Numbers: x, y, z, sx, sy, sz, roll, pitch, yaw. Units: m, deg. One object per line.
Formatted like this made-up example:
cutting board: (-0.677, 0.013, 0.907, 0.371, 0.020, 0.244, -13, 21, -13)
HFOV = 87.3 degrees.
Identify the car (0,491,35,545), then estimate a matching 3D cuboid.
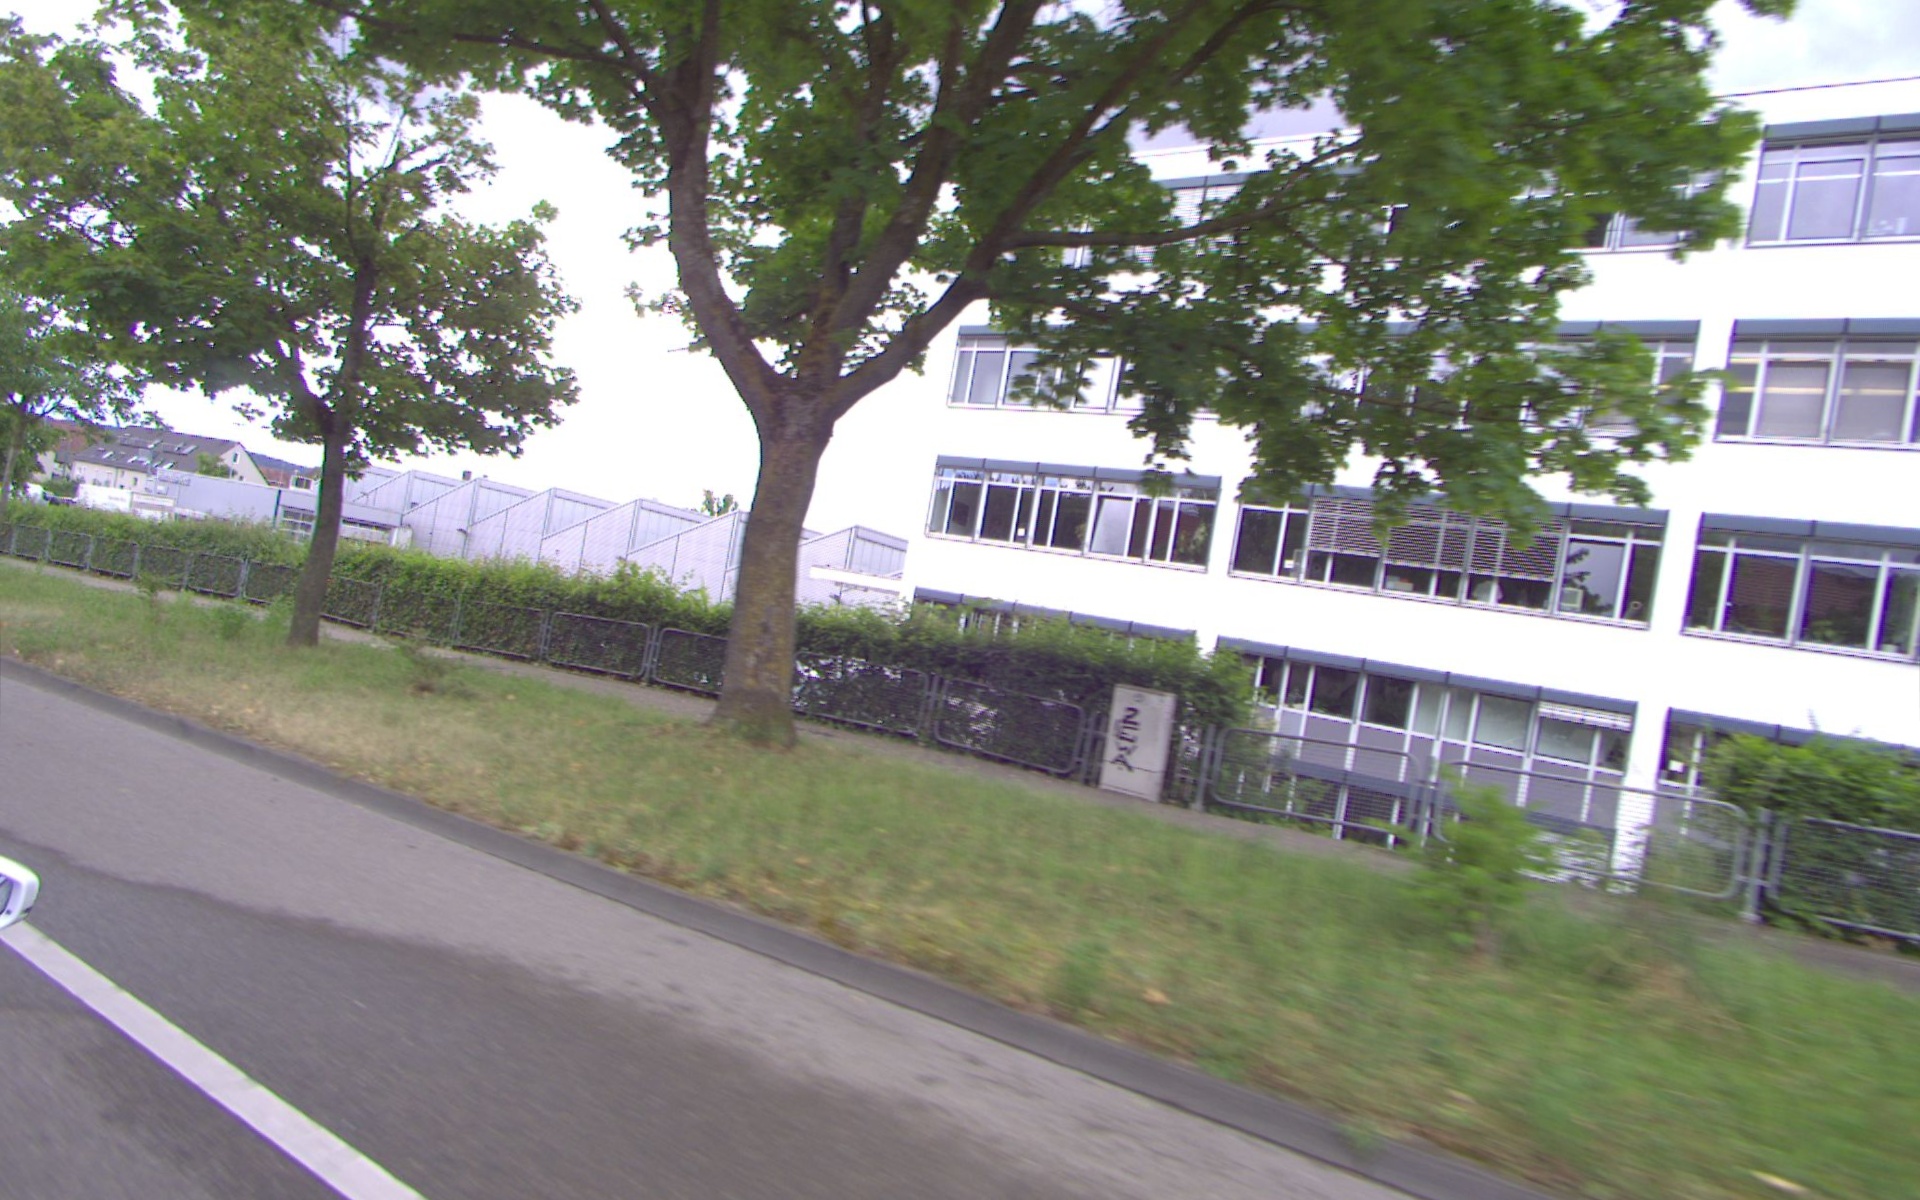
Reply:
car: (-43.113, -3.876, 42.874, 2.032, 2.212, 5.270, 7, -3, 5)

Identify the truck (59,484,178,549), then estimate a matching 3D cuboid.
truck: (-57.283, -5.732, 68.380, 9.380, 3.497, 2.861, 6, -3, 30)

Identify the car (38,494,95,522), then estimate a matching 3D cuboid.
car: (-78.935, -8.108, 88.962, 2.036, 1.979, 4.480, 9, 0, -19)

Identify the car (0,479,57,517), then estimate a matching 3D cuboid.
car: (-81.269, -8.837, 87.375, 2.233, 2.709, 5.421, 8, 0, -21)
